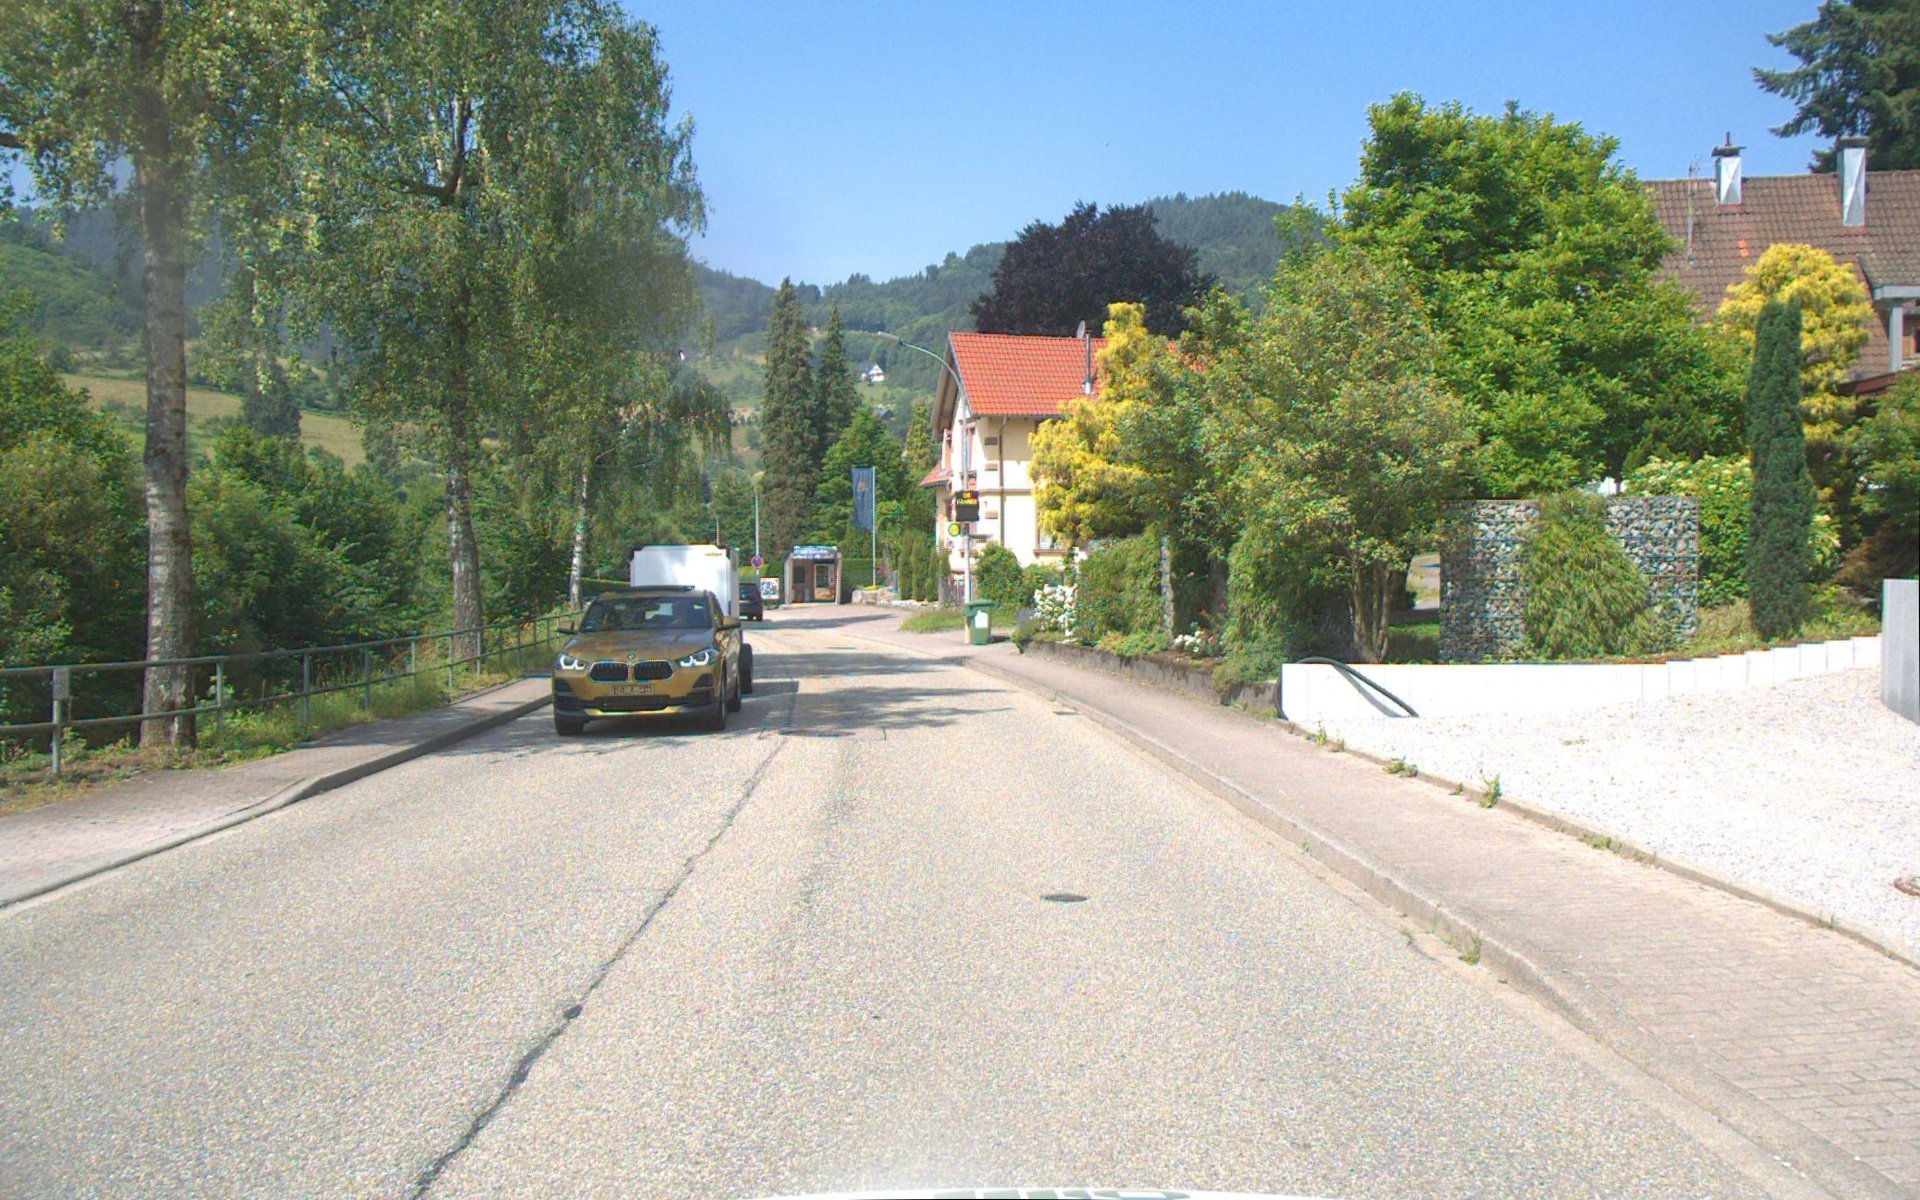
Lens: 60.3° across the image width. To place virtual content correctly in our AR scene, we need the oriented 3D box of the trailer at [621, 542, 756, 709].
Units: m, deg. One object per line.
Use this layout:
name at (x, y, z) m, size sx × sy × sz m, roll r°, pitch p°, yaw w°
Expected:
trailer at (-3.715, 0.308, 23.105) m, size 1.438 × 2.114 × 3.668 m, roll -1°, pitch 0°, yaw -3°

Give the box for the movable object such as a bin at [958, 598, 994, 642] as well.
movable object such as a bin at (0.391, 0.491, 40.796) m, size 0.794 × 1.060 × 0.577 m, roll -1°, pitch 1°, yaw -10°

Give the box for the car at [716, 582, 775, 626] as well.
car at (-9.048, 0.153, 69.615) m, size 1.889 × 1.728 × 3.771 m, roll -1°, pitch 0°, yaw -16°

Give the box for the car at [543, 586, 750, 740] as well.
car at (-3.452, 0.619, 18.925) m, size 1.777 × 1.527 × 4.146 m, roll -1°, pitch 0°, yaw -3°
